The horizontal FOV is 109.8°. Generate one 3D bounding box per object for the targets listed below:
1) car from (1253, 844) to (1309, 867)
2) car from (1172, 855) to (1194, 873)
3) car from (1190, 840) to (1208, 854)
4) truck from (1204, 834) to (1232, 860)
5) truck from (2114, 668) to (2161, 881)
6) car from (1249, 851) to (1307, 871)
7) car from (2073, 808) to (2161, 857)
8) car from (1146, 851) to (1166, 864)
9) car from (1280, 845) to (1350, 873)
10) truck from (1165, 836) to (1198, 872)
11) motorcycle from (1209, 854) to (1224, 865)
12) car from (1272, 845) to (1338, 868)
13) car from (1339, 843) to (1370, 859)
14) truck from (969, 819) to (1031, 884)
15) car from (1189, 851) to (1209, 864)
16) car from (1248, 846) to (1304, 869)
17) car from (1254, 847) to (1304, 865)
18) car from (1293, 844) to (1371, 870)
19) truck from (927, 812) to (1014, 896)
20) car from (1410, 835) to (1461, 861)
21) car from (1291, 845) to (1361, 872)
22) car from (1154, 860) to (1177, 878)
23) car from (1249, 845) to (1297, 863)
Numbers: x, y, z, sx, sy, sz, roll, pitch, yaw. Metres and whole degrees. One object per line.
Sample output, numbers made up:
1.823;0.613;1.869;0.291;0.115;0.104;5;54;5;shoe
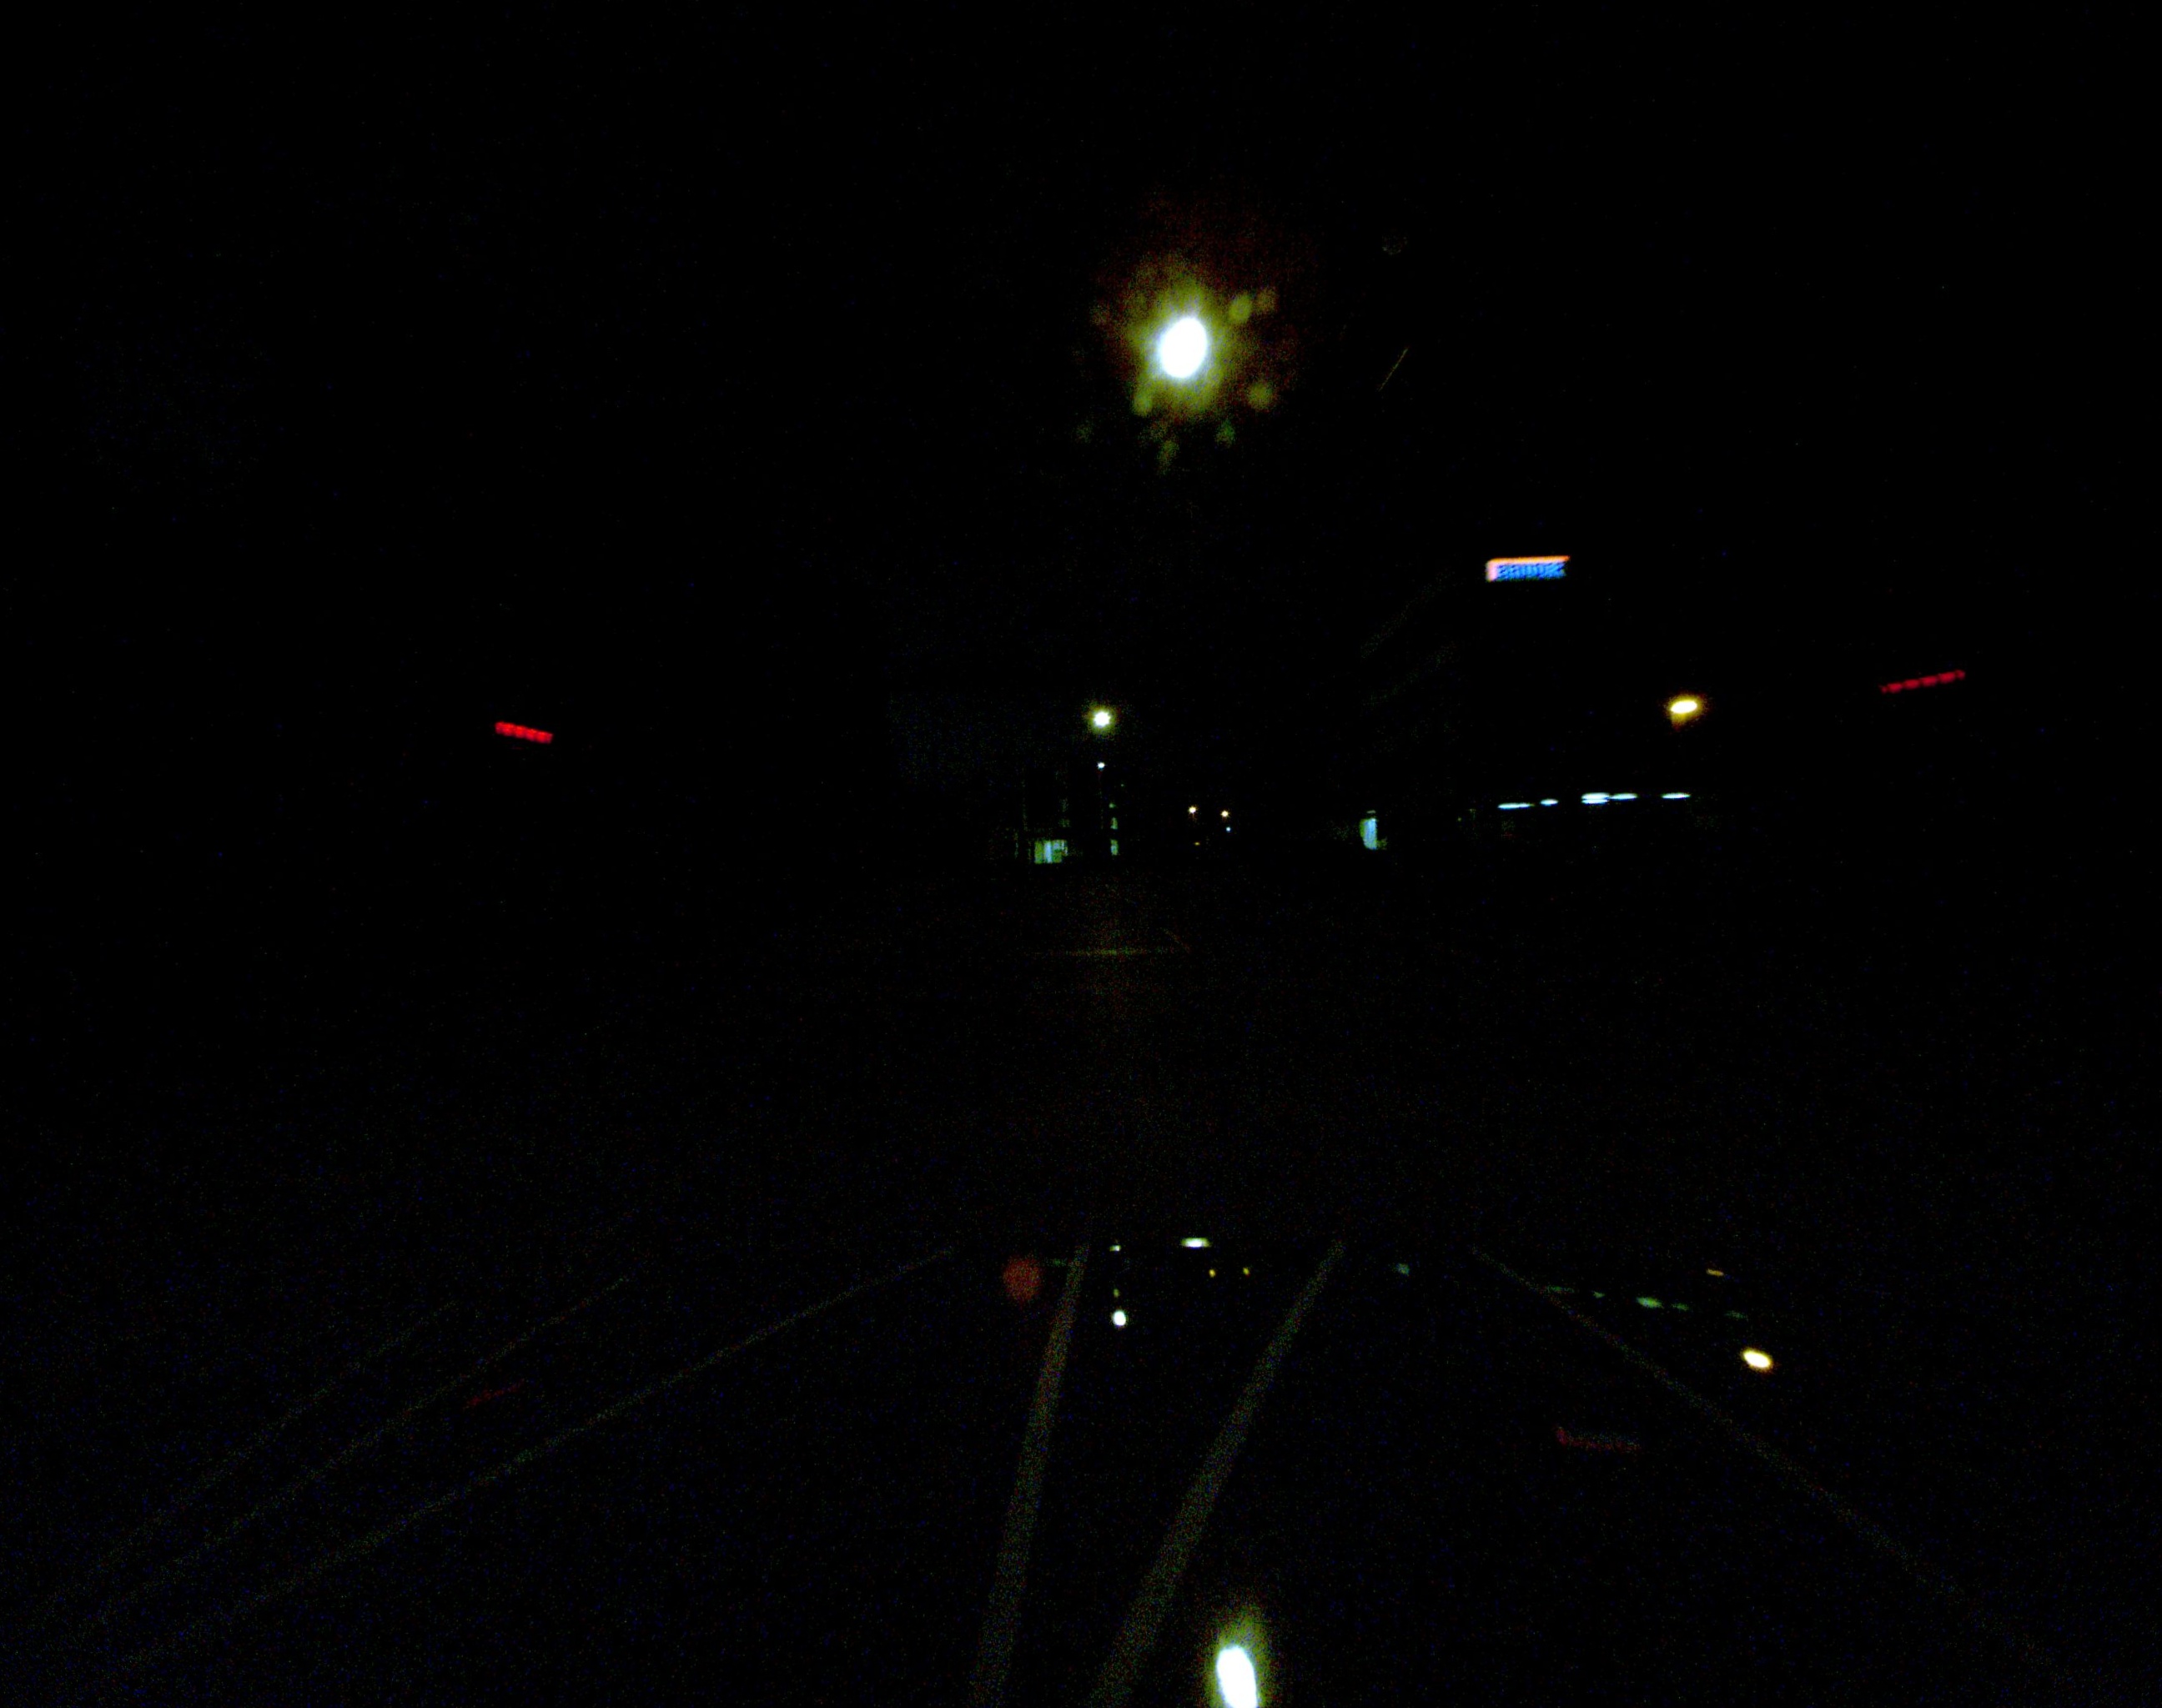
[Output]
18.178;0.149;69.136;4.617;1.805;1.963;-3;1;5;car
10.414;1.006;77.317;1.869;1.583;4.497;-3;0;11;car
24.684;-1.461;158.561;1.996;2.510;5.918;-6;-1;24;car
23.015;-1.237;127.108;2.749;4.010;9.572;-3;0;20;truck
20.956;-1.519;12.124;3.062;3.909;4.508;-4;0;16;truck
15.985;0.585;61.870;4.275;1.386;1.828;-3;1;5;car
37.134;-0.783;25.962;3.997;1.543;1.890;-3;1;-1;car
12.702;0.588;128.915;1.995;2.002;4.918;-2;1;22;car
16.640;0.350;54.201;4.414;1.671;1.963;-3;1;4;car
12.723;-0.087;95.306;2.776;4.096;9.350;-3;1;15;truck
16.062;0.611;90.106;1.693;1.095;0.531;-6;2;-16;motorcycle
16.693;0.189;56.873;4.413;1.470;1.851;-3;1;5;car
27.801;-0.328;77.305;1.906;1.448;4.466;-4;0;7;car
-5.164;-0.175;50.182;2.762;3.761;9.137;-3;1;1;truck
17.049;0.478;109.653;1.946;1.707;5.204;-3;1;18;car
17.103;0.270;66.773;4.413;1.805;1.963;-3;1;5;car
19.357;0.207;74.411;4.413;1.444;1.828;-3;1;5;car
16.169;0.191;49.128;4.457;1.444;2.062;-3;1;8;car
-5.574;-0.037;40.370;2.762;3.761;10.224;-3;1;1;truck
25.611;-0.431;54.992;1.998;1.632;4.204;-4;0;6;car
16.662;0.290;51.795;4.140;1.570;1.842;-3;1;5;car
7.391;1.259;66.720;1.818;1.363;4.362;-3;0;4;car
19.379;0.001;76.775;4.413;1.474;1.893;-3;1;5;car
